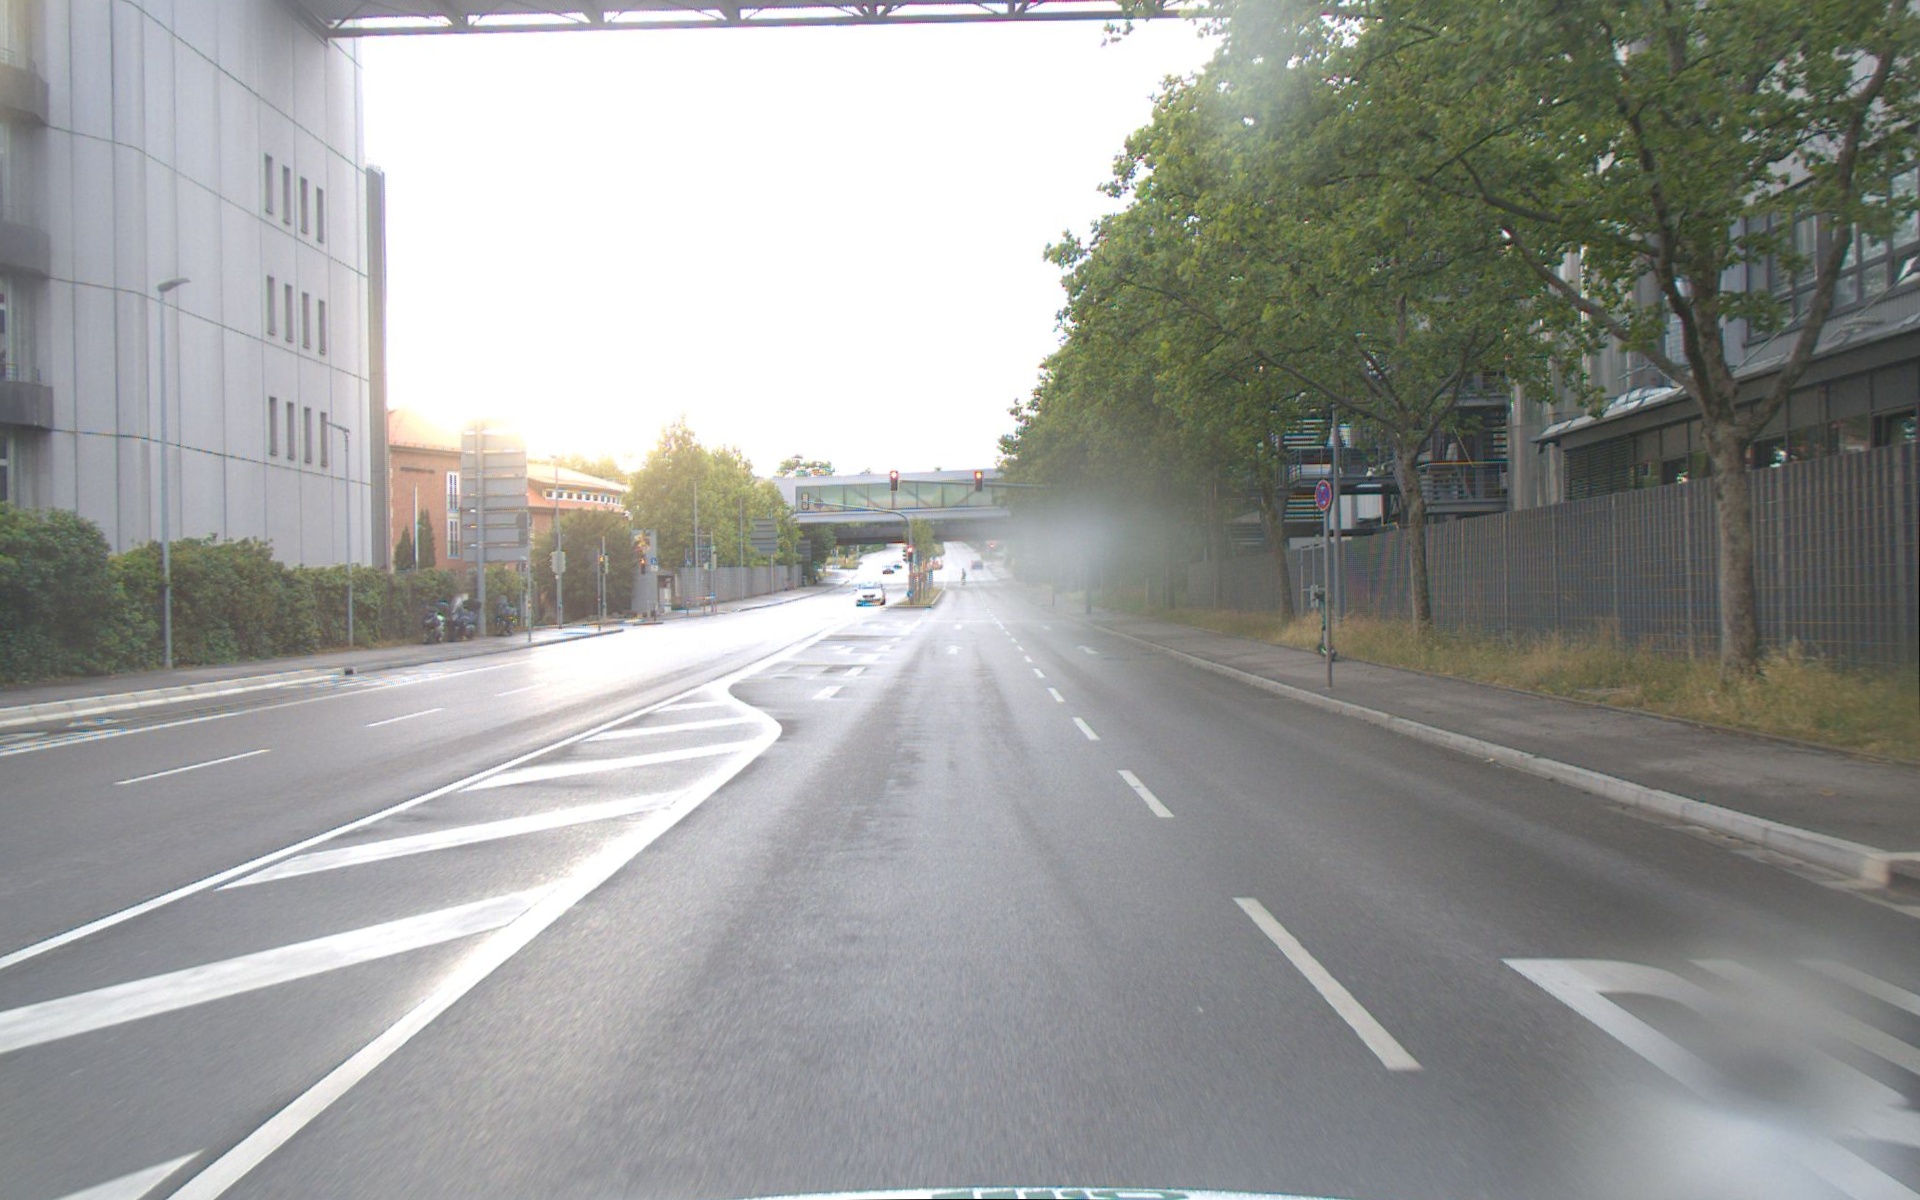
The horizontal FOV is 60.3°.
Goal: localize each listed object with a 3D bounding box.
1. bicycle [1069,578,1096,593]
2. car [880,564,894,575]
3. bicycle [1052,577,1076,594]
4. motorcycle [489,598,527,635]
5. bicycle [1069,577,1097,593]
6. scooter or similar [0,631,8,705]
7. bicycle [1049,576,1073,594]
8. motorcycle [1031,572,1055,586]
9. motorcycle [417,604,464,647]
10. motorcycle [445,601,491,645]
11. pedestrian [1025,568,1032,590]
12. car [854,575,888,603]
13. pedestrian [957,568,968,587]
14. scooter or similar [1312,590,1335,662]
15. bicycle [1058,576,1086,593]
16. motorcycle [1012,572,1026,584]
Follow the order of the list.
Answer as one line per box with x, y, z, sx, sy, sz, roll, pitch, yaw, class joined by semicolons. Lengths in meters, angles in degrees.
8.854;-1.047;119.759;1.949;1.114;0.541;1;0;1;bicycle
-11.336;-4.771;257.780;1.839;1.652;3.779;-2;1;1;car
8.419;-1.141;133.754;1.949;1.352;0.576;1;0;1;bicycle
-16.379;0.574;59.967;0.768;1.269;2.157;-2;1;0;motorcycle
8.846;-1.048;119.191;1.949;1.114;0.541;1;0;1;bicycle
-15.860;1.112;26.318;0.370;1.201;1.379;-1;0;13;scooter or similar
8.114;-1.199;132.904;1.949;1.455;0.723;1;0;1;bicycle
8.407;-2.123;166.890;2.318;1.223;0.723;-2;1;8;motorcycle
-16.328;0.790;52.031;0.768;1.272;2.157;-2;1;0;motorcycle
-16.196;0.738;54.472;0.768;1.371;2.370;-2;1;0;motorcycle
6.474;-1.991;156.815;0.609;2.048;0.606;-2;0;1;pedestrian
-5.652;-0.702;105.440;1.839;1.652;3.779;-2;1;1;car
0.285;-2.505;183.474;0.853;2.039;0.855;-2;1;18;pedestrian
6.743;0.471;30.682;0.321;1.291;1.109;-1;0;9;scooter or similar
8.202;-1.115;121.227;1.949;1.237;0.541;1;0;1;bicycle
6.782;-2.568;190.777;0.778;1.334;2.365;-2;1;-17;motorcycle
